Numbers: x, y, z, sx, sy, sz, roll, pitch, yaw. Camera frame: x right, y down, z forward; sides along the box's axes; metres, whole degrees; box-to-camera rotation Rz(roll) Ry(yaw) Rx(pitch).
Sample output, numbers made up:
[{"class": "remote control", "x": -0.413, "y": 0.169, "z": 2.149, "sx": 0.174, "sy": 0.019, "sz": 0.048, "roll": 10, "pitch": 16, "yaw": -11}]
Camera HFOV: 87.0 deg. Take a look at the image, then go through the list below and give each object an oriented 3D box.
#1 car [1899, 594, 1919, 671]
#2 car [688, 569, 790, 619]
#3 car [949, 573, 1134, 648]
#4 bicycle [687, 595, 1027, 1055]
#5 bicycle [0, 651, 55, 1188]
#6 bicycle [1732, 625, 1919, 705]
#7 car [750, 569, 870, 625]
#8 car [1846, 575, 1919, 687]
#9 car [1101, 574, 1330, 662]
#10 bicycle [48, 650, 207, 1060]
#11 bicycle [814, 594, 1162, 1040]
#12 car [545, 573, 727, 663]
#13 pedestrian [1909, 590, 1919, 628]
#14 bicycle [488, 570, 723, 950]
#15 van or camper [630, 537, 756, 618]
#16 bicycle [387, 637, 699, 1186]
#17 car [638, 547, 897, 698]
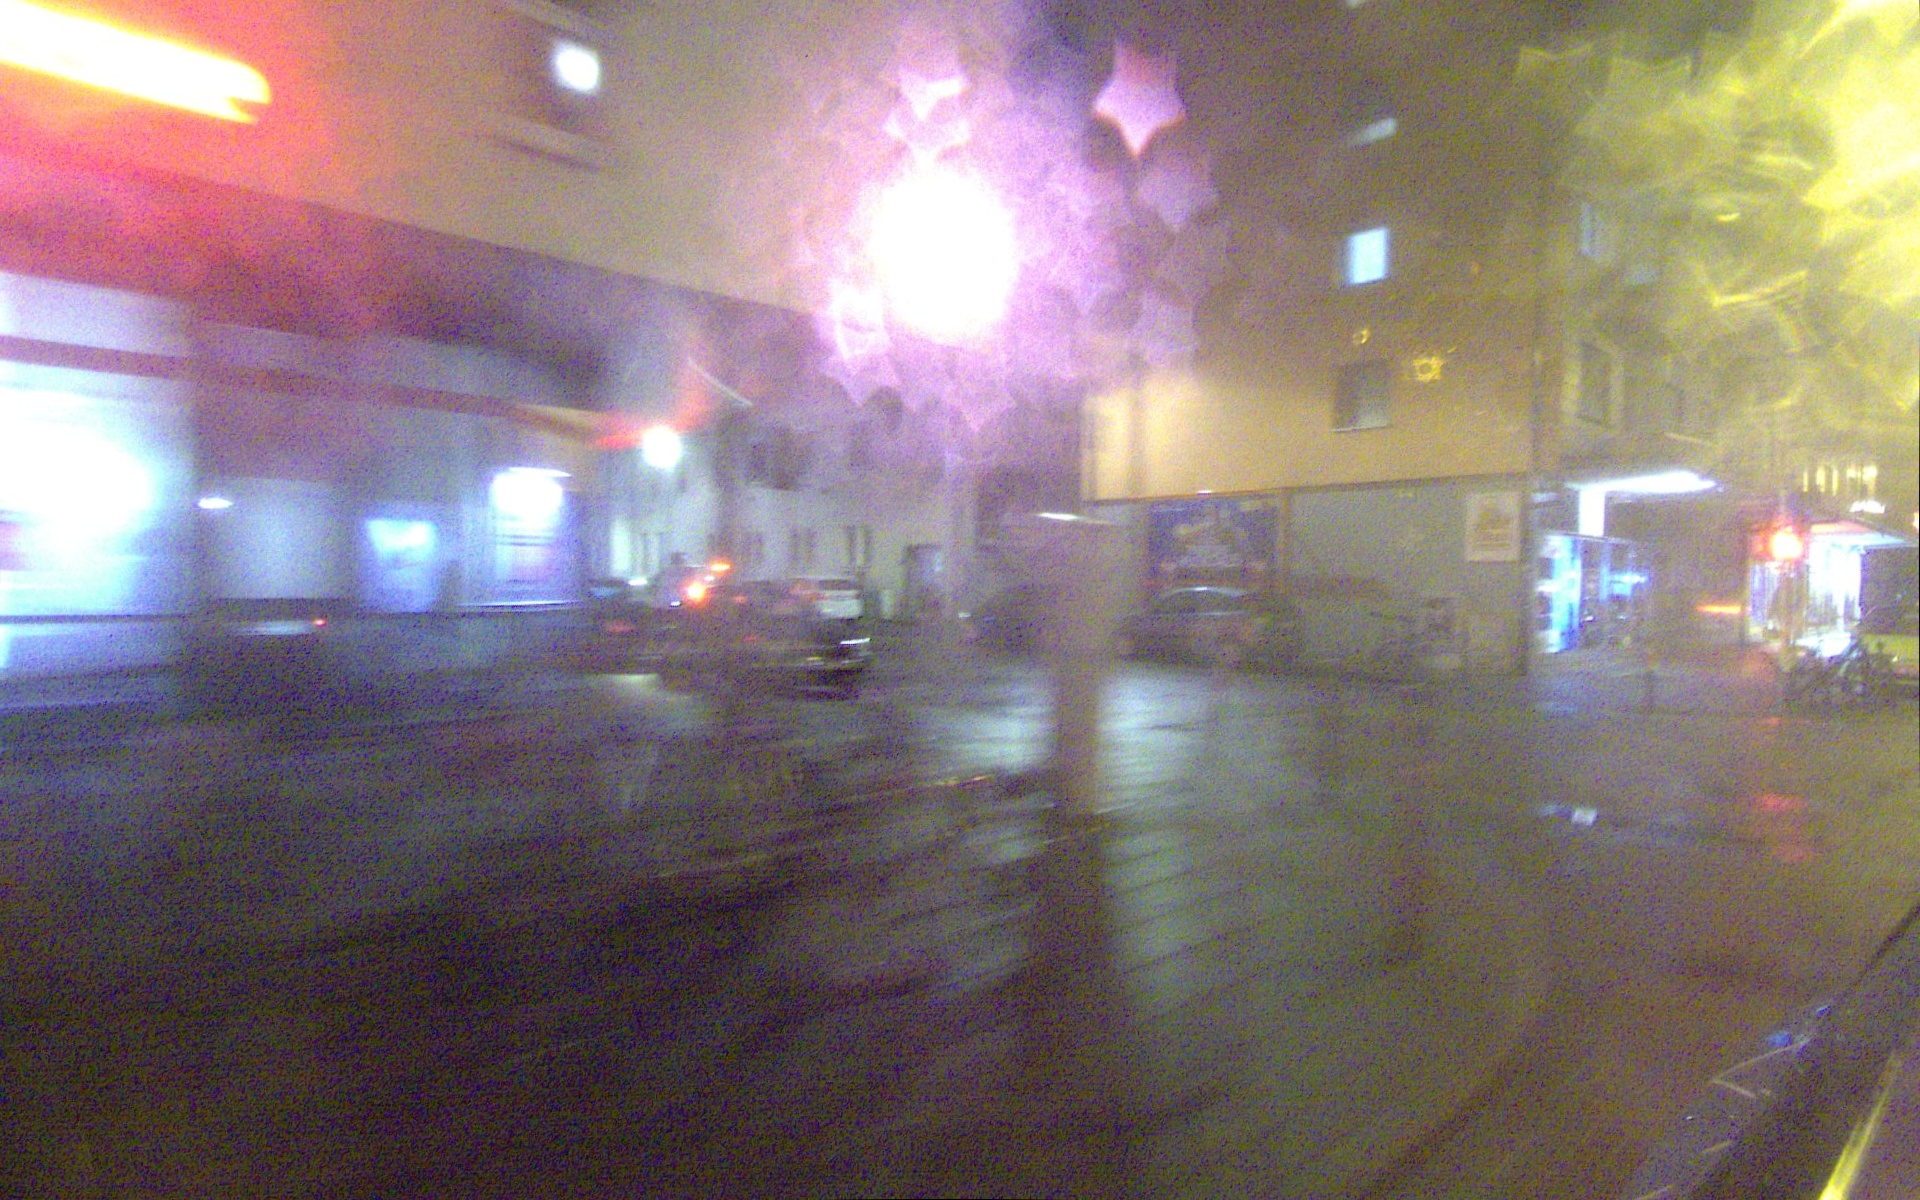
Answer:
[{"class": "car", "x": 21.150, "y": 0.679, "z": 21.177, "sx": 4.089, "sy": 1.525, "sz": 1.689, "roll": 0, "pitch": 2, "yaw": -40}, {"class": "car", "x": -7.738, "y": -0.198, "z": 35.175, "sx": 1.809, "sy": 1.623, "sz": 4.154, "roll": 0, "pitch": 0, "yaw": -39}, {"class": "car", "x": 1.762, "y": 0.234, "z": 22.881, "sx": 1.964, "sy": 1.527, "sz": 3.995, "roll": 0, "pitch": 0, "yaw": -39}, {"class": "bicycle", "x": -0.465, "y": 0.682, "z": 3.722, "sx": 0.360, "sy": 1.216, "sz": 1.533, "roll": -1, "pitch": 8, "yaw": -41}, {"class": "bicycle", "x": -2.302, "y": 0.760, "z": 2.184, "sx": 0.359, "sy": 1.035, "sz": 1.535, "roll": 0, "pitch": 7, "yaw": -36}, {"class": "bicycle", "x": 12.346, "y": 0.883, "z": 14.420, "sx": 0.605, "sy": 0.905, "sz": 2.279, "roll": 1, "pitch": 2, "yaw": -11}, {"class": "car", "x": -4.722, "y": -0.101, "z": 31.454, "sx": 1.809, "sy": 1.623, "sz": 4.154, "roll": 0, "pitch": 0, "yaw": -39}, {"class": "car", "x": 16.634, "y": 0.506, "z": 17.285, "sx": 3.788, "sy": 1.743, "sz": 1.676, "roll": 0, "pitch": 2, "yaw": -40}, {"class": "car", "x": 4.817, "y": 0.297, "z": 19.516, "sx": 1.861, "sy": 1.504, "sz": 3.996, "roll": 0, "pitch": 0, "yaw": -39}, {"class": "bicycle", "x": -2.741, "y": 0.722, "z": 3.403, "sx": 0.319, "sy": 0.843, "sz": 1.535, "roll": 0, "pitch": 7, "yaw": -36}, {"class": "bicycle", "x": 0.013, "y": 0.677, "z": 3.841, "sx": 0.359, "sy": 1.216, "sz": 1.535, "roll": 0, "pitch": 7, "yaw": -37}, {"class": "car", "x": -6.041, "y": 0.285, "z": 18.592, "sx": 1.809, "sy": 1.452, "sz": 4.154, "roll": 0, "pitch": 0, "yaw": -39}, {"class": "pedestrian", "x": 48.410, "y": 0.462, "z": 50.988, "sx": 0.764, "sy": 1.925, "sz": 0.776, "roll": 0, "pitch": -1, "yaw": -40}, {"class": "bicycle", "x": -1.564, "y": 0.559, "z": 4.299, "sx": 0.360, "sy": 1.216, "sz": 1.533, "roll": -1, "pitch": 8, "yaw": -41}, {"class": "van or camper", "x": -8.739, "y": -0.648, "z": 32.750, "sx": 2.080, "sy": 2.429, "sz": 5.329, "roll": 0, "pitch": -1, "yaw": -37}, {"class": "bicycle", "x": -1.315, "y": 0.750, "z": 3.005, "sx": 0.360, "sy": 1.035, "sz": 1.533, "roll": -1, "pitch": 8, "yaw": -41}, {"class": "car", "x": -2.830, "y": 0.258, "z": 14.189, "sx": 1.809, "sy": 1.792, "sz": 4.154, "roll": 0, "pitch": 0, "yaw": -39}]
